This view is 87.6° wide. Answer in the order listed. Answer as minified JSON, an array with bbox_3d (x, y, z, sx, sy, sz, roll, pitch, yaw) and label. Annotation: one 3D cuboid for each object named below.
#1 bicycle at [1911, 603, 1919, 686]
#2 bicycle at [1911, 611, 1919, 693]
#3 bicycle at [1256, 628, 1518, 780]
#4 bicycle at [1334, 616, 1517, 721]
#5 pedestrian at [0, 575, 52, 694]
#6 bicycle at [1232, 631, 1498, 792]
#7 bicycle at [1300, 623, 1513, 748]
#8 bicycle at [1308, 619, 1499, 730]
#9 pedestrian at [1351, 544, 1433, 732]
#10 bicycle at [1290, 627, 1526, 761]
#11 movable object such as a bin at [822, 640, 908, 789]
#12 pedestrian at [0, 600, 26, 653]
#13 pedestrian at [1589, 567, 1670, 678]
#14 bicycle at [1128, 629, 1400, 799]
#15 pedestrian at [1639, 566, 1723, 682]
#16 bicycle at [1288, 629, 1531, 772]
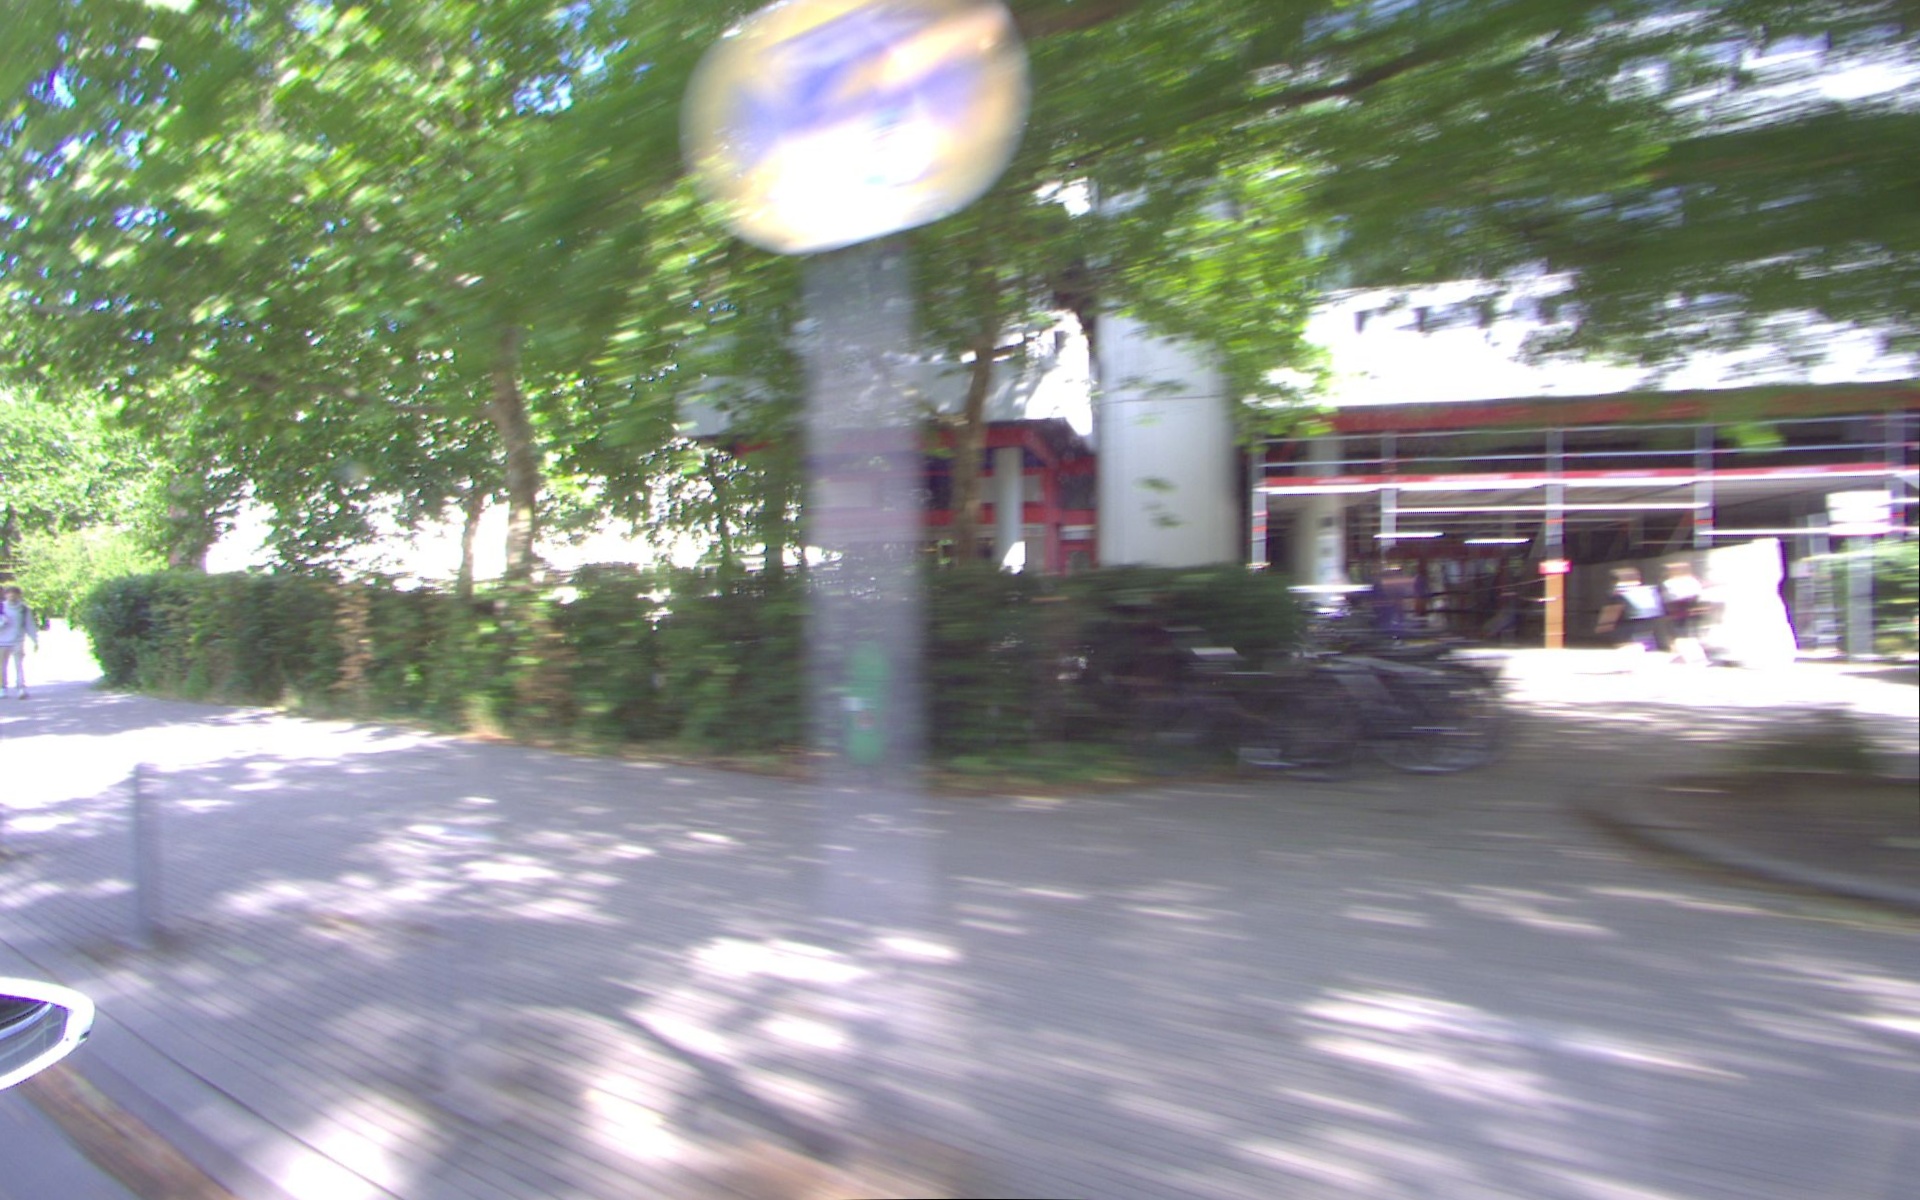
[{"bbox_3d":[13.189,0.617,12.939,0.491,1.134,1.869,0,1,16],"label":"bicycle"},{"bbox_3d":[12.356,0.680,12.071,0.491,1.040,1.868,0,1,17],"label":"bicycle"},{"bbox_3d":[3.402,0.799,8.117,1.902,1.133,0.499,0,0,20],"label":"bicycle"},{"bbox_3d":[5.238,0.749,11.379,1.839,1.133,0.499,0,0,20],"label":"bicycle"},{"bbox_3d":[-15.483,0.560,16.488,0.782,1.897,0.669,0,0,38],"label":"pedestrian"},{"bbox_3d":[3.056,0.813,7.686,1.839,1.133,0.499,0,0,20],"label":"bicycle"},{"bbox_3d":[4.264,0.796,9.692,1.839,1.133,0.499,0,0,20],"label":"bicycle"},{"bbox_3d":[4.716,0.770,10.755,1.839,1.133,0.499,0,0,20],"label":"bicycle"},{"bbox_3d":[4.410,0.381,10.254,0.748,1.861,0.543,0,0,21],"label":"pedestrian"},{"bbox_3d":[4.002,0.812,9.080,1.906,1.133,0.499,0,0,20],"label":"bicycle"},{"bbox_3d":[-0.727,0.861,7.726,0.496,1.086,0.489,0,0,22],"label":"movable object such as a bin"},{"bbox_3d":[-32.194,0.897,33.895,0.622,1.778,0.817,0,0,42],"label":"pedestrian"},{"bbox_3d":[9.855,0.324,14.762,0.714,1.593,0.760,0,0,6],"label":"pedestrian"},{"bbox_3d":[2.205,0.787,7.358,1.839,1.133,0.619,0,0,20],"label":"bicycle"},{"bbox_3d":[10.634,0.346,14.795,0.710,1.657,0.831,0,0,10],"label":"pedestrian"},{"bbox_3d":[3.776,0.820,8.550,1.839,1.133,0.499,0,0,20],"label":"bicycle"}]
